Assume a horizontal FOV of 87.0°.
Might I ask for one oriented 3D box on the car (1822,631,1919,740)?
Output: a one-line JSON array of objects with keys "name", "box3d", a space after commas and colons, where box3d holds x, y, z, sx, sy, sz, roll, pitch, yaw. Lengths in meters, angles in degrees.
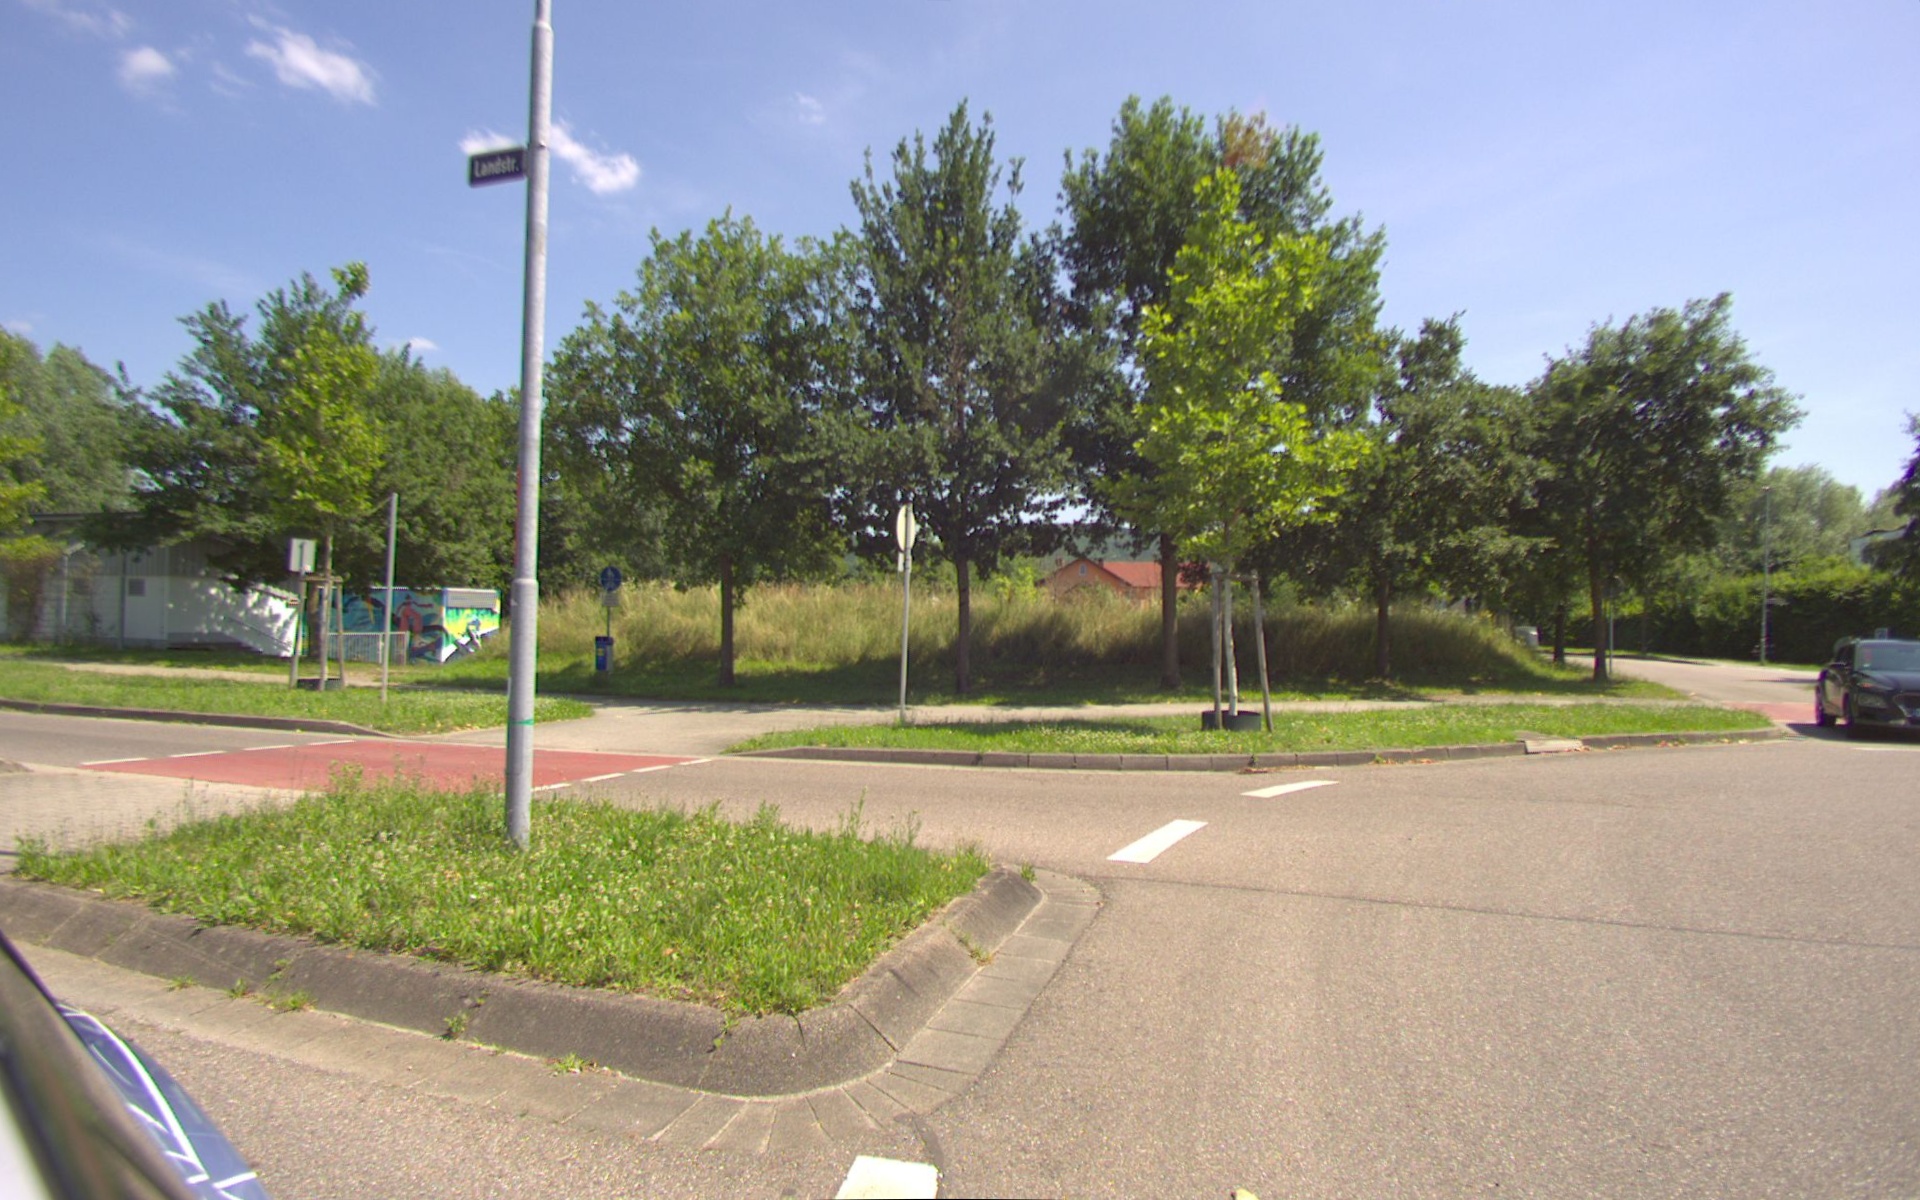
[{"name": "car", "box3d": [15.524, 1.328, 16.355, 1.861, 1.581, 4.435, -1, -3, 34]}]
